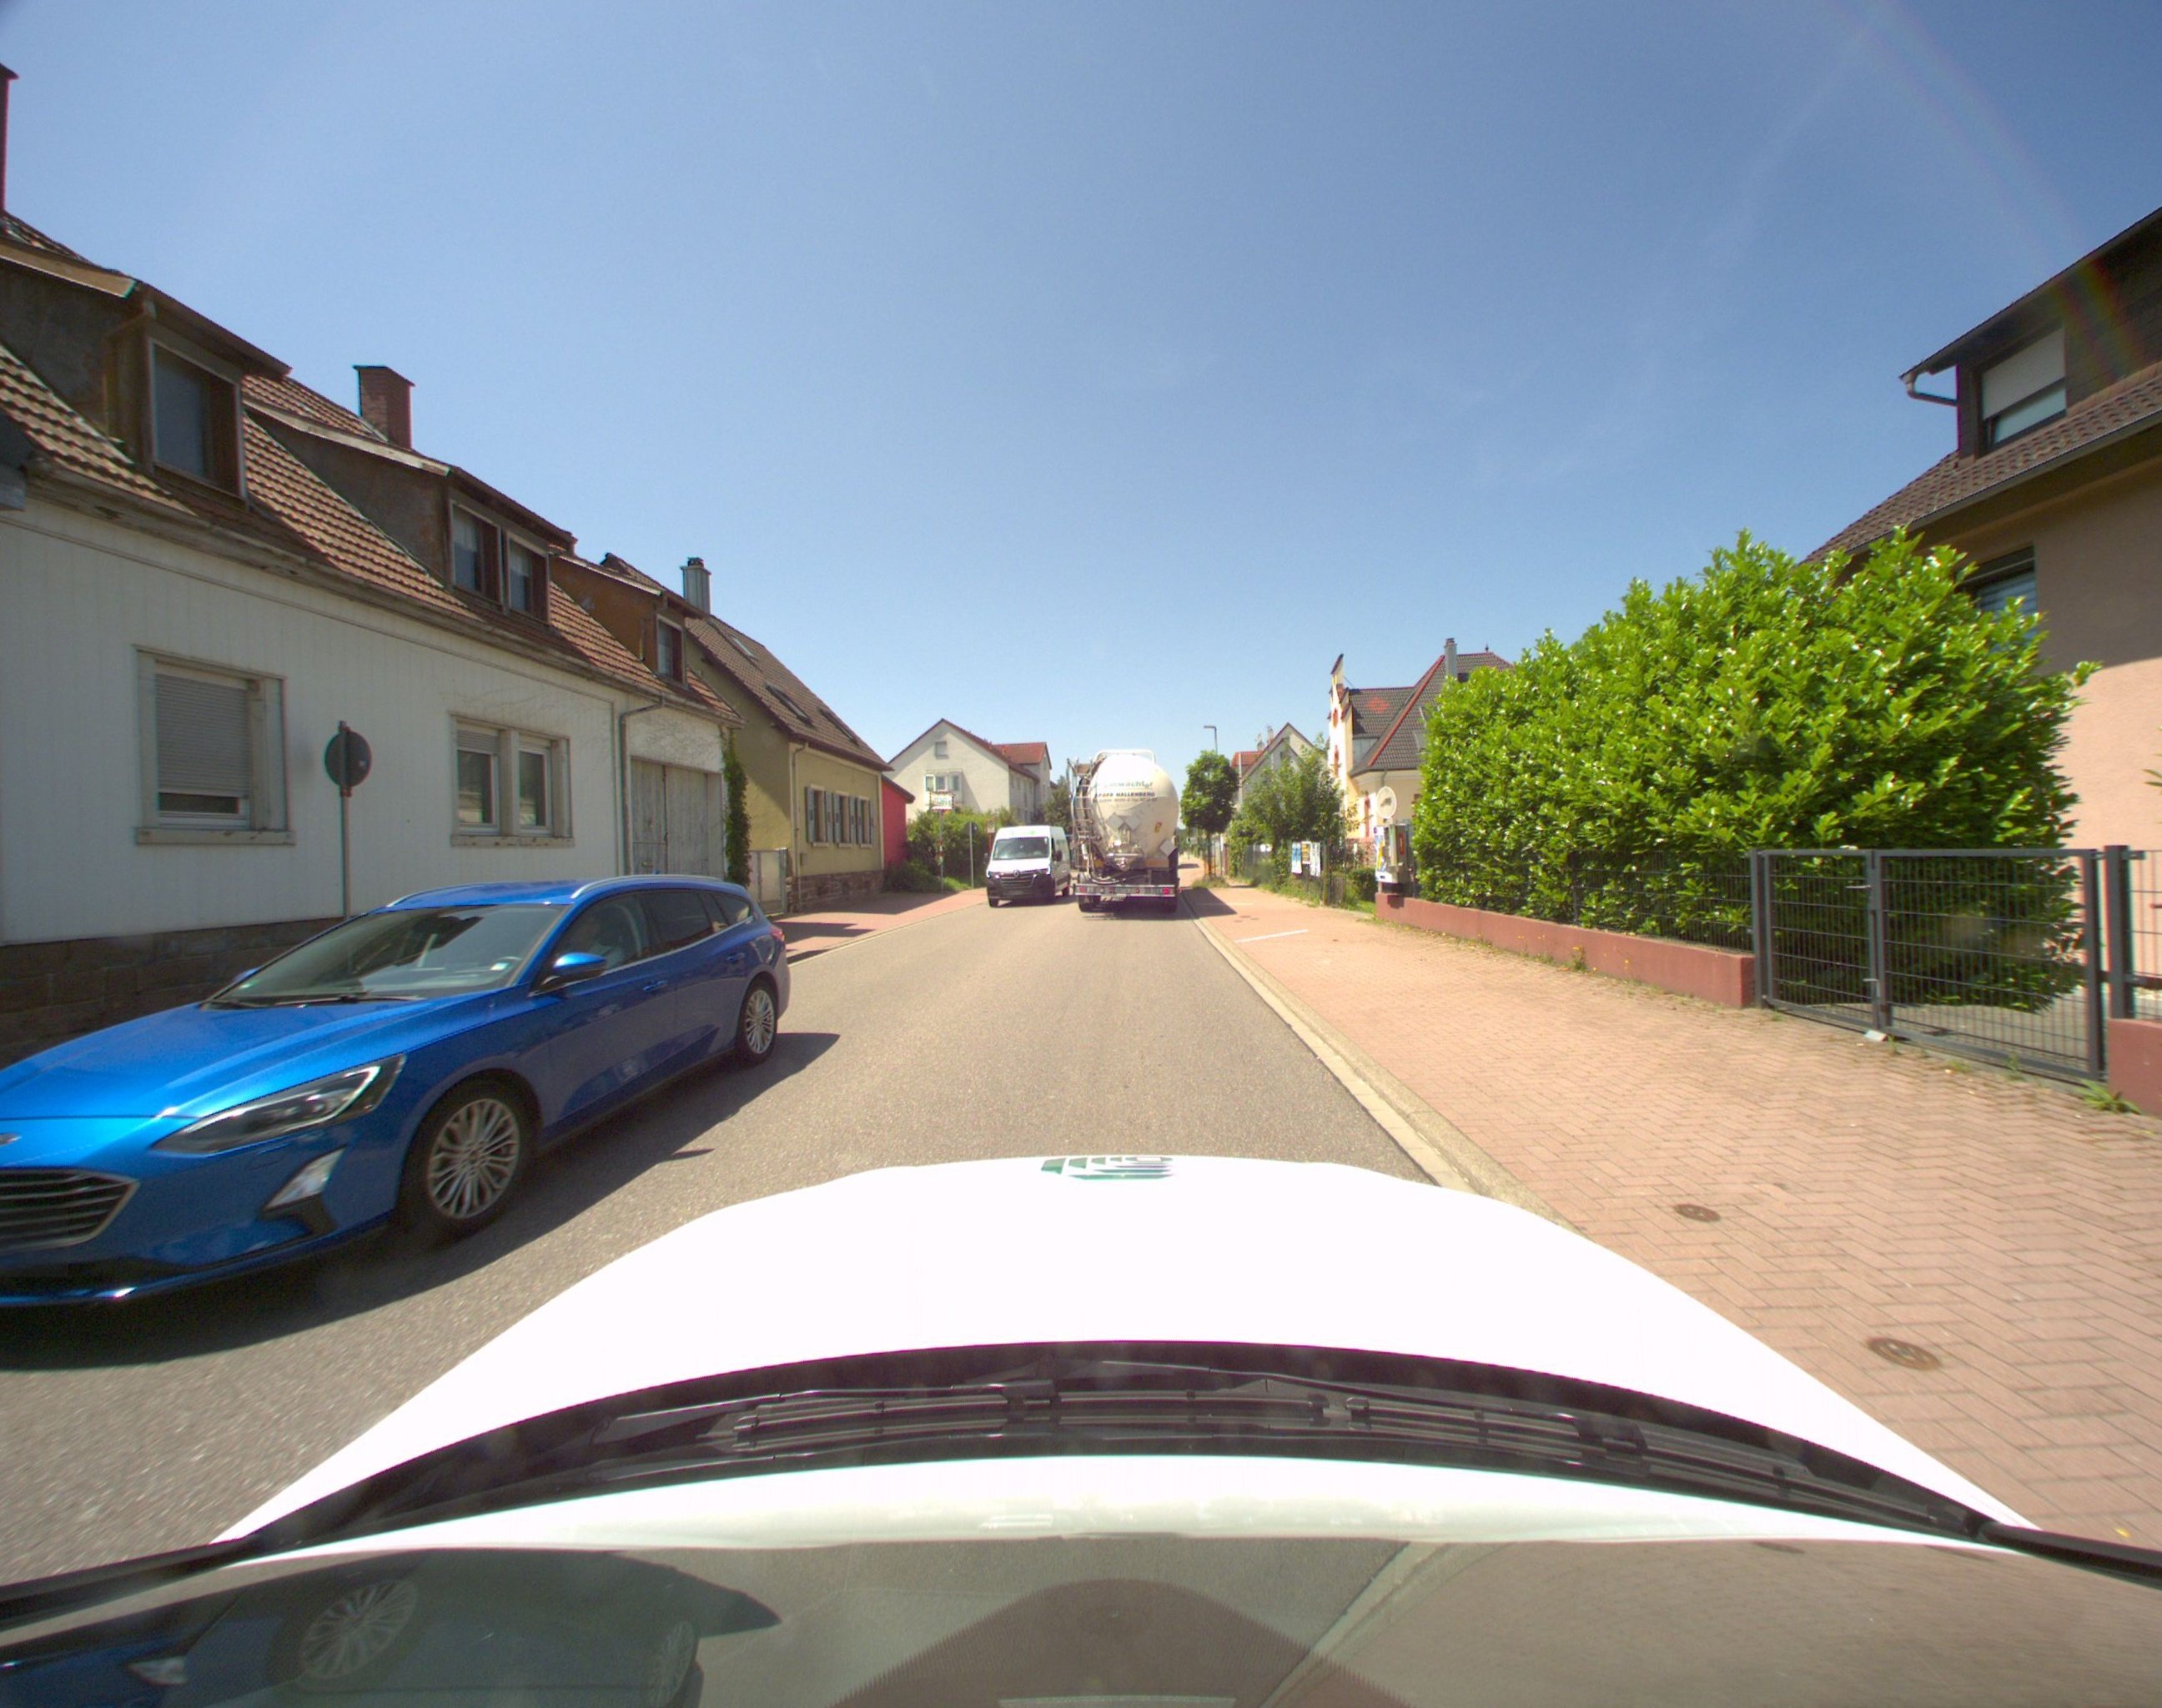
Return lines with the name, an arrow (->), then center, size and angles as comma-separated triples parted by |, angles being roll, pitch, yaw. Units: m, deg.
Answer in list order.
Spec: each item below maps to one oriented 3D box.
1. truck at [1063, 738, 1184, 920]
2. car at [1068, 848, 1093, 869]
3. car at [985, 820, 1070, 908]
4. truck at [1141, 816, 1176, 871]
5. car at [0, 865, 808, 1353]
truck -> 1.286, -0.580, 22.993 | 2.629, 4.015, 9.572 | -1, 0, 4
car -> 0.008, 0.371, 70.741 | 1.697, 1.686, 4.534 | -1, 0, 6
car -> -1.598, 0.286, 26.776 | 2.021, 2.461, 6.072 | -2, 0, 3
truck -> 6.736, -0.854, 69.951 | 2.628, 4.224, 12.114 | -1, 0, 6
car -> -3.299, 0.877, 4.834 | 1.639, 1.454, 4.403 | -4, 0, 2
